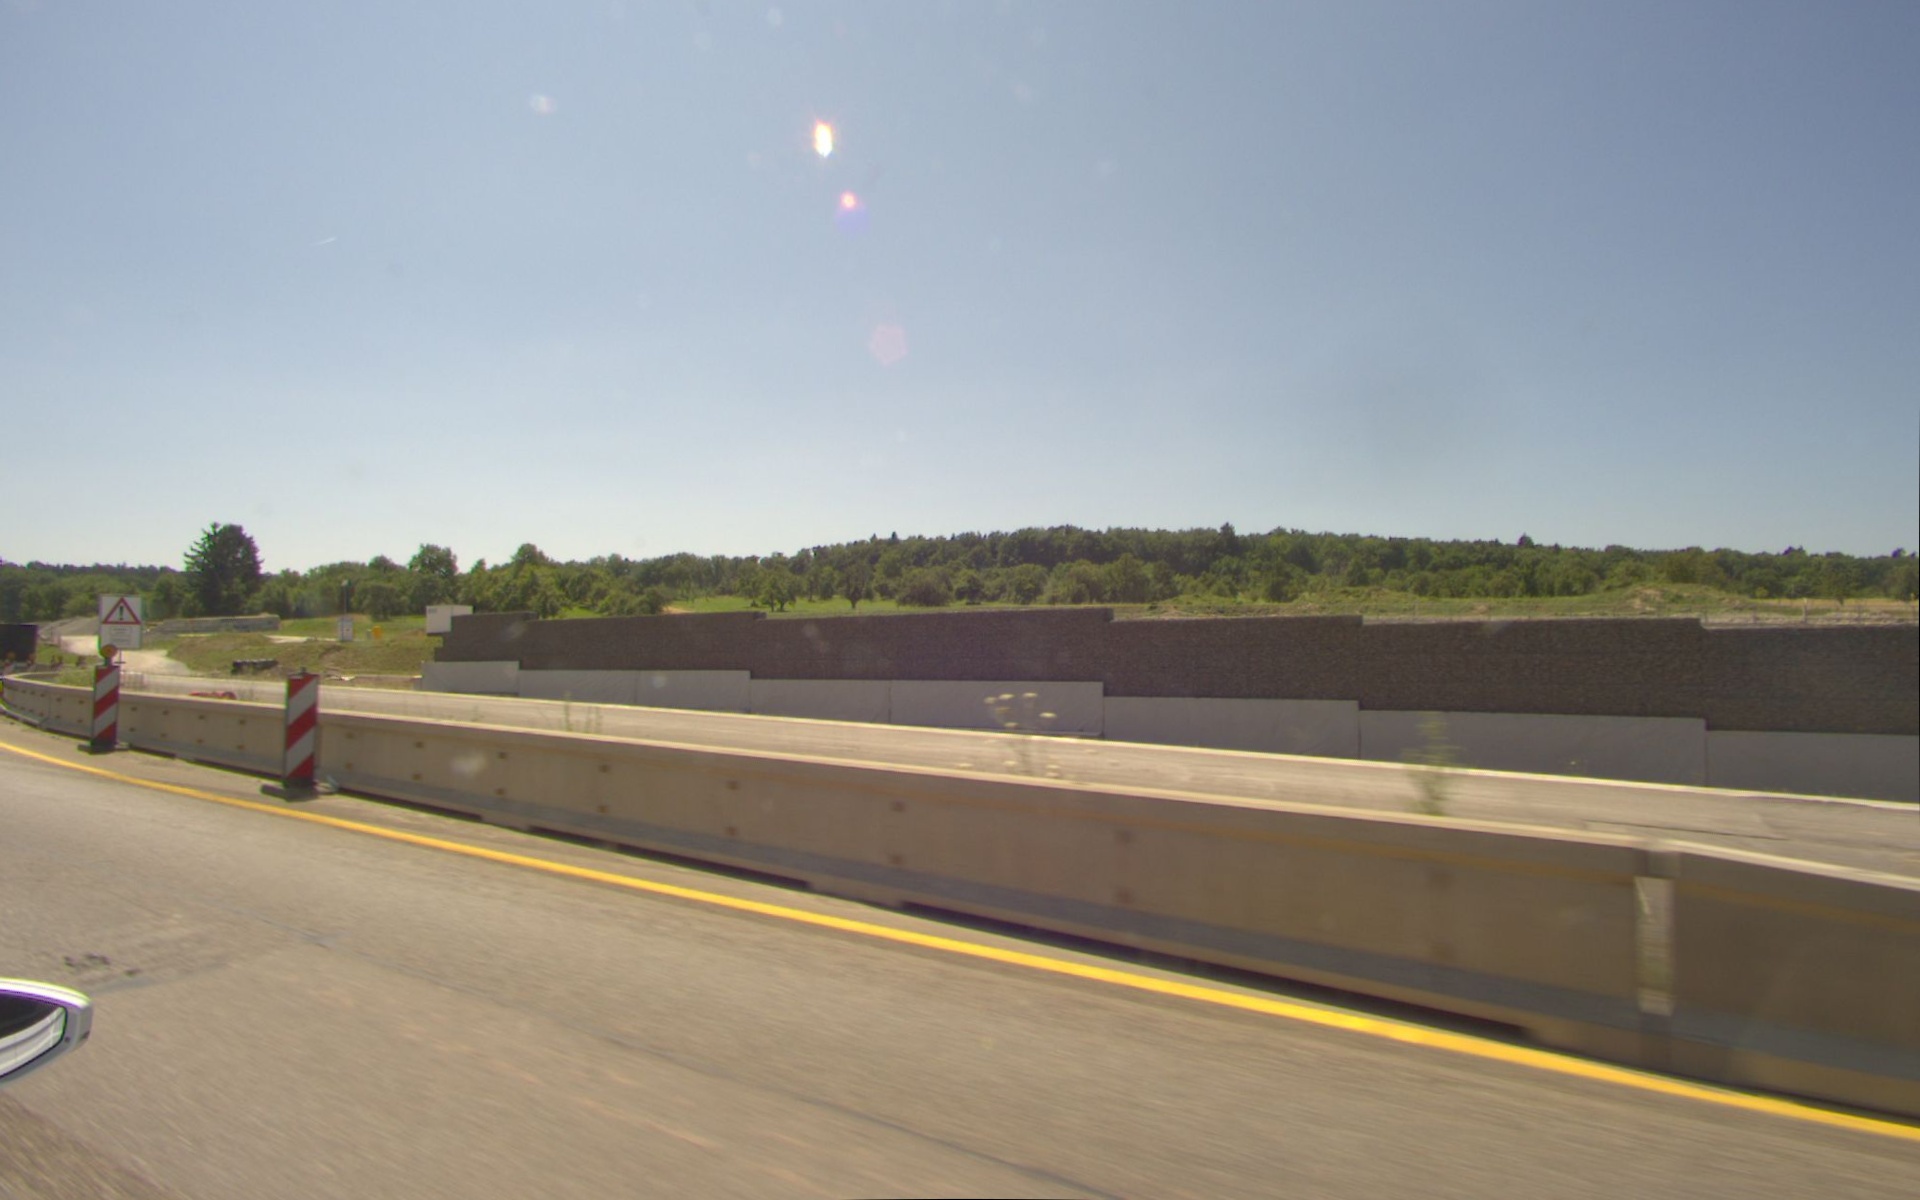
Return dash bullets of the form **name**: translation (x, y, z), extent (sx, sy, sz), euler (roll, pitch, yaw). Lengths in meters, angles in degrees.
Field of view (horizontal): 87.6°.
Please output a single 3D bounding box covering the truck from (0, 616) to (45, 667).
- **truck**: translation (-57.288, 2.527, 60.575), extent (2.656, 2.983, 5.566), euler (1, -3, -44)
